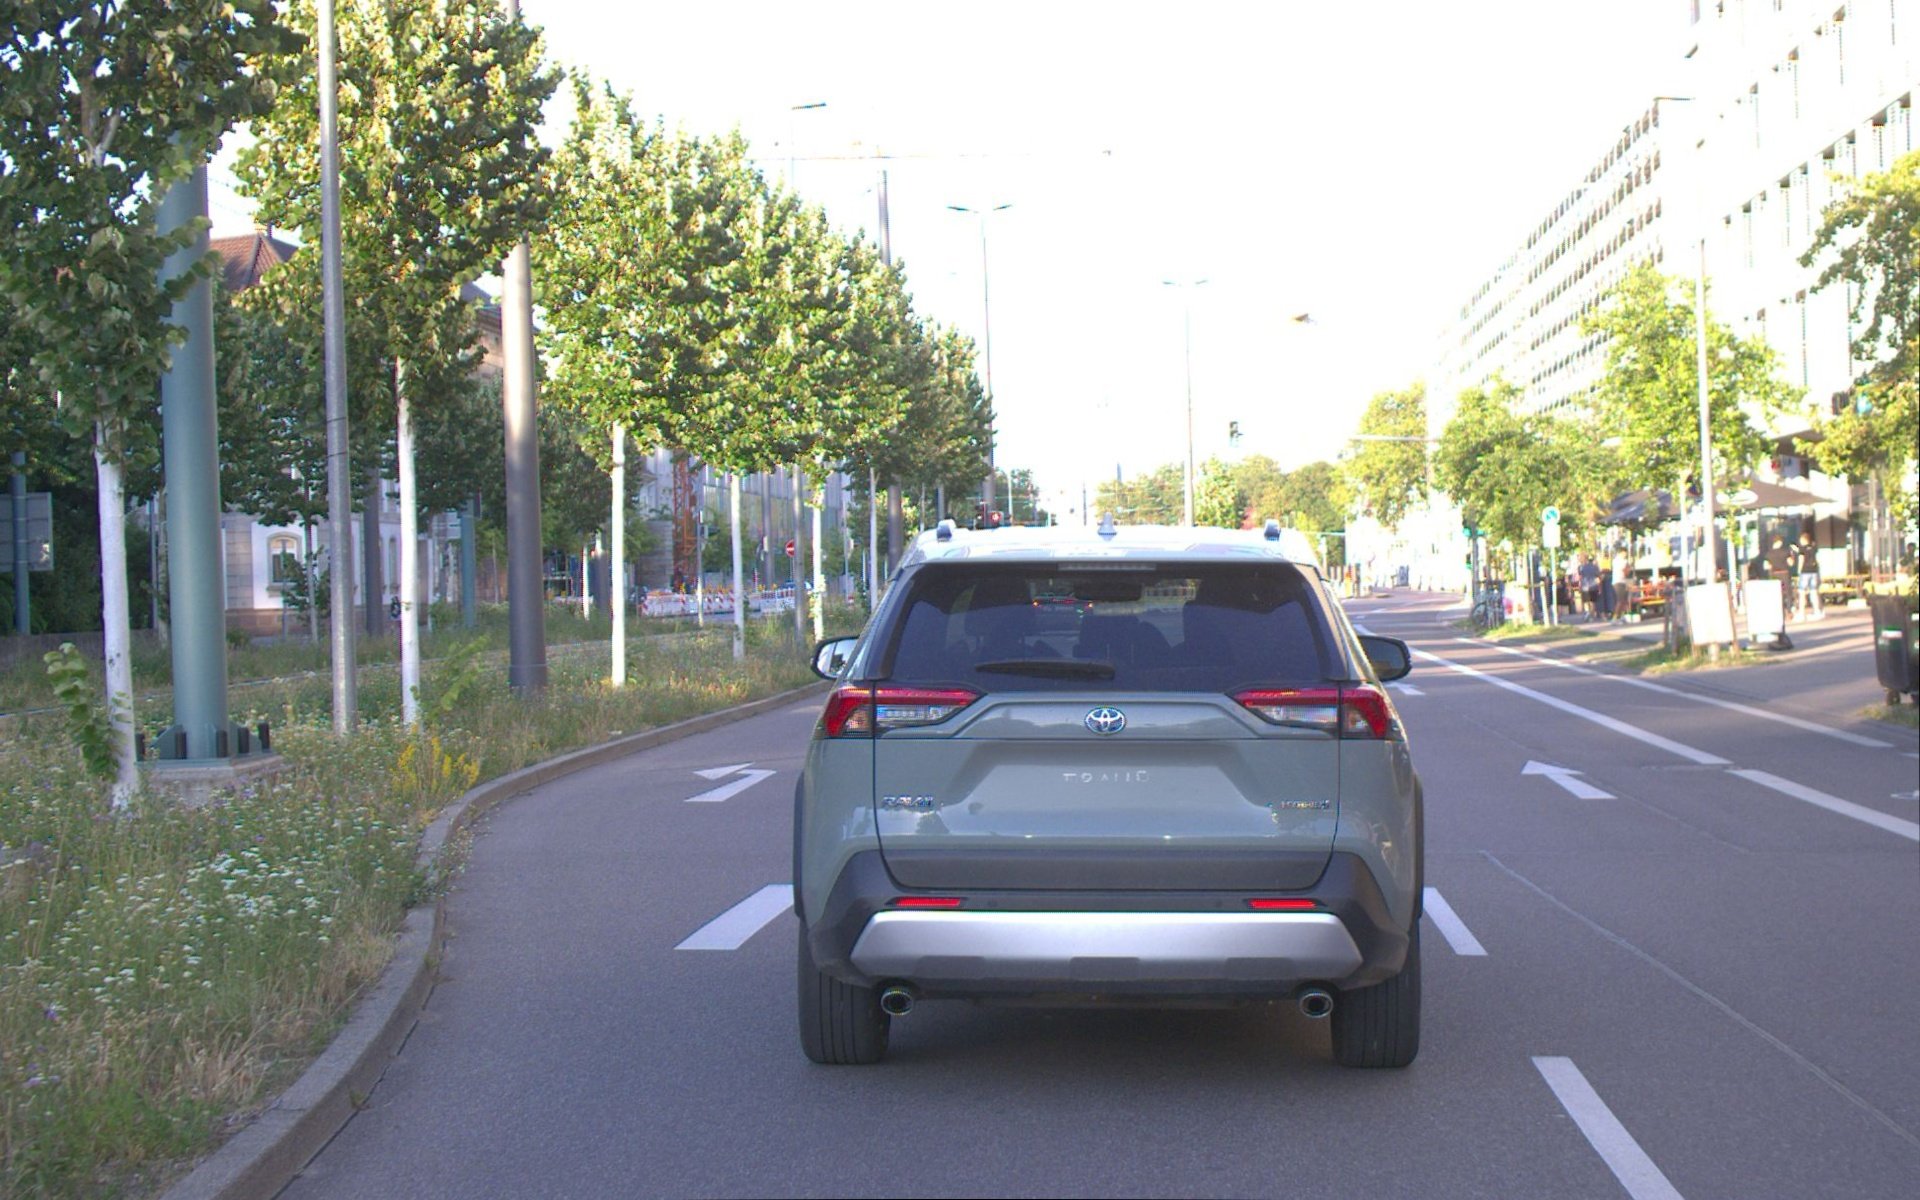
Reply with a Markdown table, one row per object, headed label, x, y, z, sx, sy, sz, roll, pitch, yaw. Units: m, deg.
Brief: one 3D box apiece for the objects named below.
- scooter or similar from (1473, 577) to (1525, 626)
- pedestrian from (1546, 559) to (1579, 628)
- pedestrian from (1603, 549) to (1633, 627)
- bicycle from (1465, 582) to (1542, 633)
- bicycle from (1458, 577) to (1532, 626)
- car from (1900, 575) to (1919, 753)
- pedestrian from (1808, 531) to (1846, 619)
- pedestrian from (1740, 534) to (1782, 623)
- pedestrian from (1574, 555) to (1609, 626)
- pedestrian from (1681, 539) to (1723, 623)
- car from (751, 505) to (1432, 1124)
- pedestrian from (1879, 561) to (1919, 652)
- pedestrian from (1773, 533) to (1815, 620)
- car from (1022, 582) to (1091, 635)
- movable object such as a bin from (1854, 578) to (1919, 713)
| label | x | y | z | sx | sy | sz | roll | pitch | yaw |
| --- | --- | --- | --- | --- | --- | --- | --- | --- | --- |
| scooter or similar | 14.167 | 0.041 | 90.326 | 1.209 | 1.197 | 0.480 | -4 | 0 | -1 |
| pedestrian | 15.262 | -0.172 | 87.068 | 0.653 | 1.696 | 0.689 | -3 | 0 | 4 |
| pedestrian | 15.451 | -0.282 | 80.714 | 0.576 | 1.780 | 0.828 | -3 | -1 | 12 |
| bicycle | 14.079 | 0.193 | 89.058 | 1.847 | 1.178 | 0.608 | -4 | 0 | 4 |
| bicycle | 14.148 | 0.042 | 90.868 | 1.793 | 1.189 | 0.568 | -4 | 0 | 0 |
| car | 10.472 | 0.386 | 29.719 | 4.655 | 1.503 | 1.939 | -4 | 0 | -35 |
| pedestrian | 18.483 | -0.534 | 73.303 | 0.619 | 1.805 | 0.776 | -5 | -1 | 13 |
| pedestrian | 17.129 | -0.466 | 73.519 | 0.744 | 1.843 | 0.940 | -4 | -1 | 13 |
| pedestrian | 16.015 | -0.244 | 87.152 | 0.685 | 1.729 | 0.761 | -4 | 0 | 4 |
| pedestrian | 17.135 | -0.430 | 79.398 | 0.825 | 1.882 | 0.866 | -3 | -1 | 12 |
| car | 0.483 | 0.558 | 11.450 | 1.834 | 1.667 | 4.282 | 0 | 1 | 4 |
| pedestrian | 17.143 | 0.116 | 62.586 | 0.576 | 1.613 | 0.643 | -3 | 0 | 1 |
| pedestrian | 17.780 | -0.501 | 73.322 | 0.756 | 1.818 | 0.940 | -3 | 0 | 13 |
| car | 2.597 | 0.207 | 91.650 | 1.674 | 1.347 | 4.000 | 0 | 1 | 4 |
| movable object such as a bin | 9.860 | 0.437 | 34.928 | 1.084 | 1.297 | 1.361 | -4 | 0 | -2 |
